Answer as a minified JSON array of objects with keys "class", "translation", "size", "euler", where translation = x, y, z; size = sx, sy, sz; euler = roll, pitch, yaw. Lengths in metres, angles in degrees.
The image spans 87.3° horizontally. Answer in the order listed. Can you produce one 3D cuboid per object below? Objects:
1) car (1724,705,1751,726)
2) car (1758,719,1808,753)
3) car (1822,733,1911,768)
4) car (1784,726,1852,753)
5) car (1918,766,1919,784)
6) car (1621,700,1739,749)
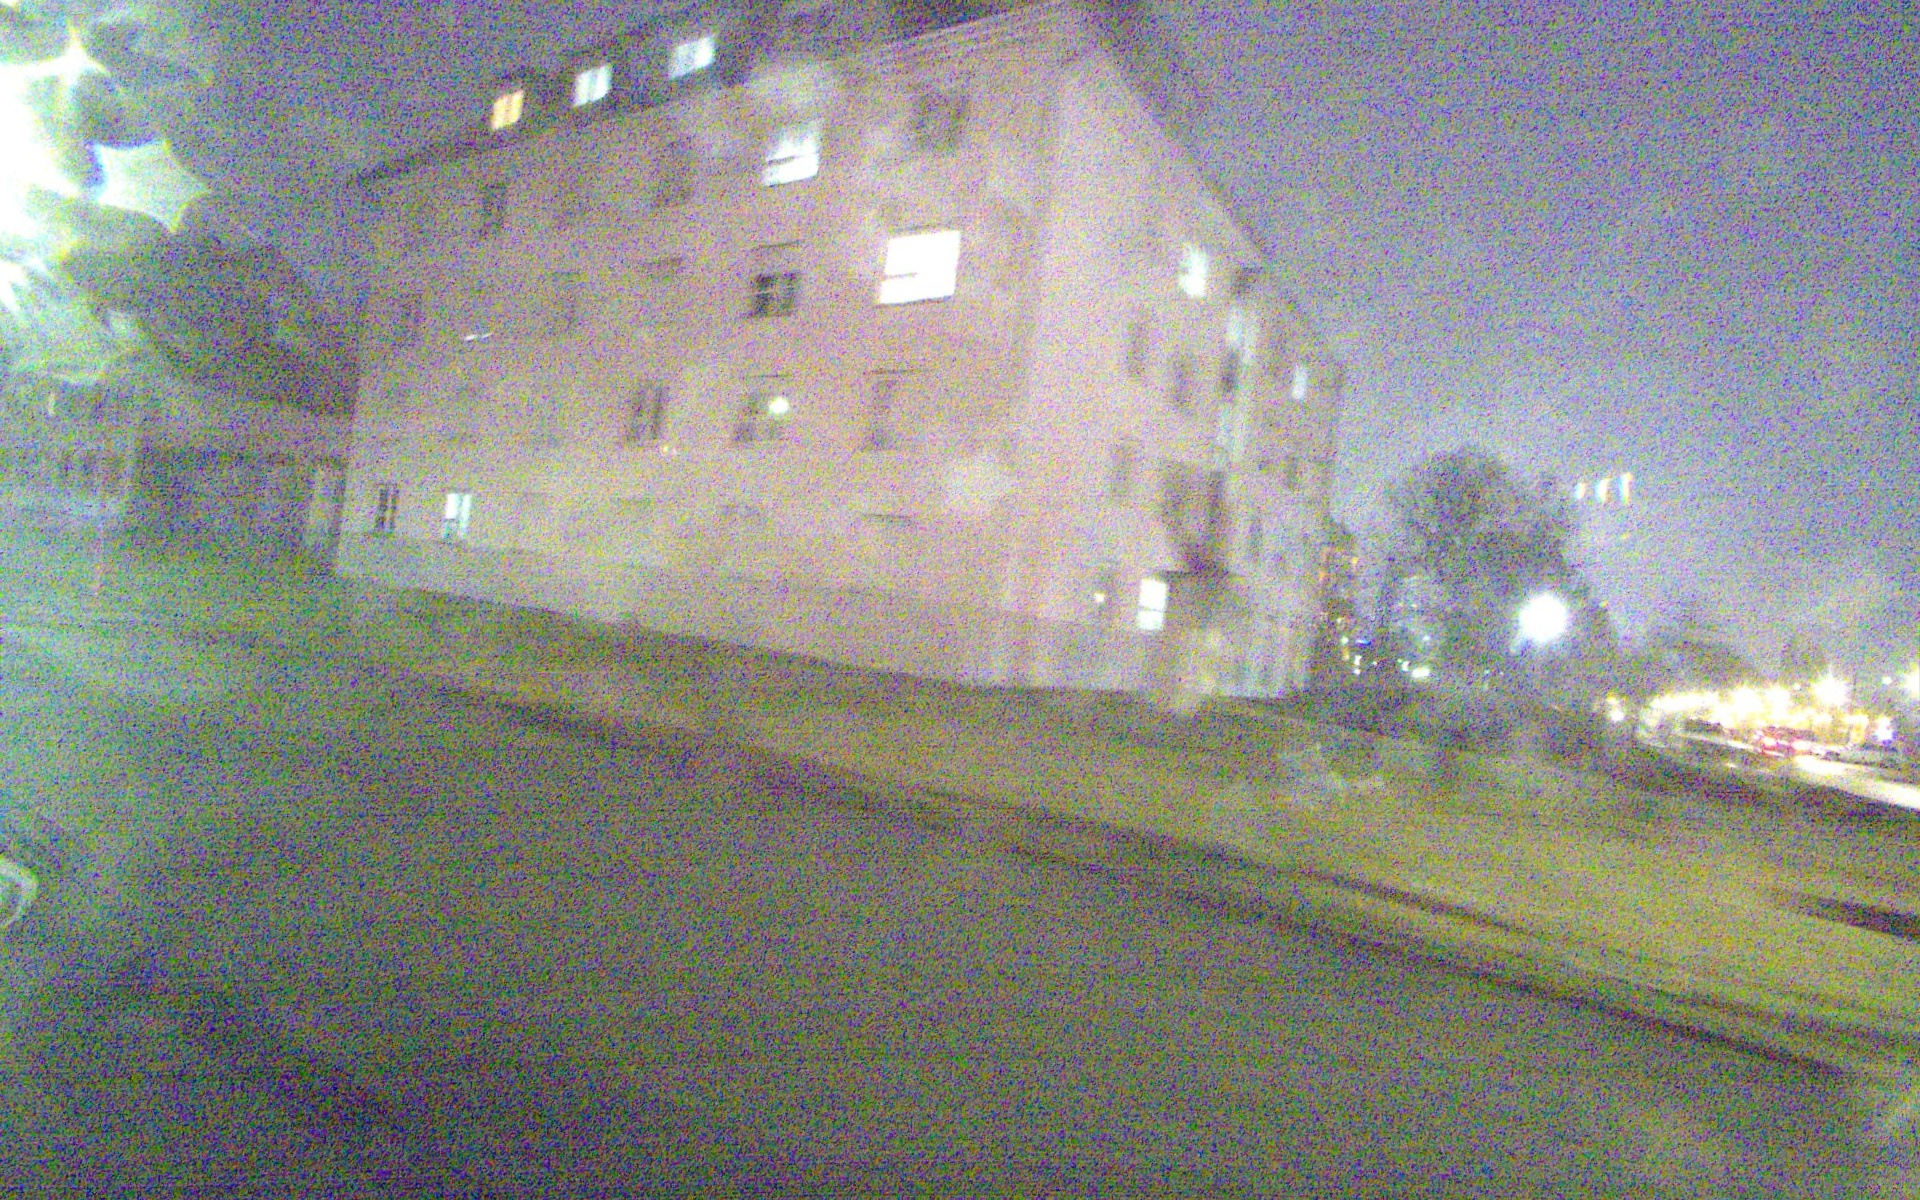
[{"class":"car","translation":[86.811,12.895,112.369],"size":[1.968,2.038,3.990],"euler":[7,-1,34]},{"class":"car","translation":[51.374,8.450,62.881],"size":[1.969,1.694,3.989],"euler":[6,-1,35]},{"class":"car","translation":[58.212,9.620,64.672],"size":[3.939,1.504,1.993],"euler":[6,0,37]},{"class":"car","translation":[70.406,11.456,82.620],"size":[3.937,1.504,1.994],"euler":[6,0,35]},{"class":"car","translation":[44.939,7.707,43.966],"size":[4.123,1.516,1.993],"euler":[6,-1,38]},{"class":"car","translation":[32.479,5.576,45.534],"size":[4.118,1.517,1.995],"euler":[6,0,34]}]
